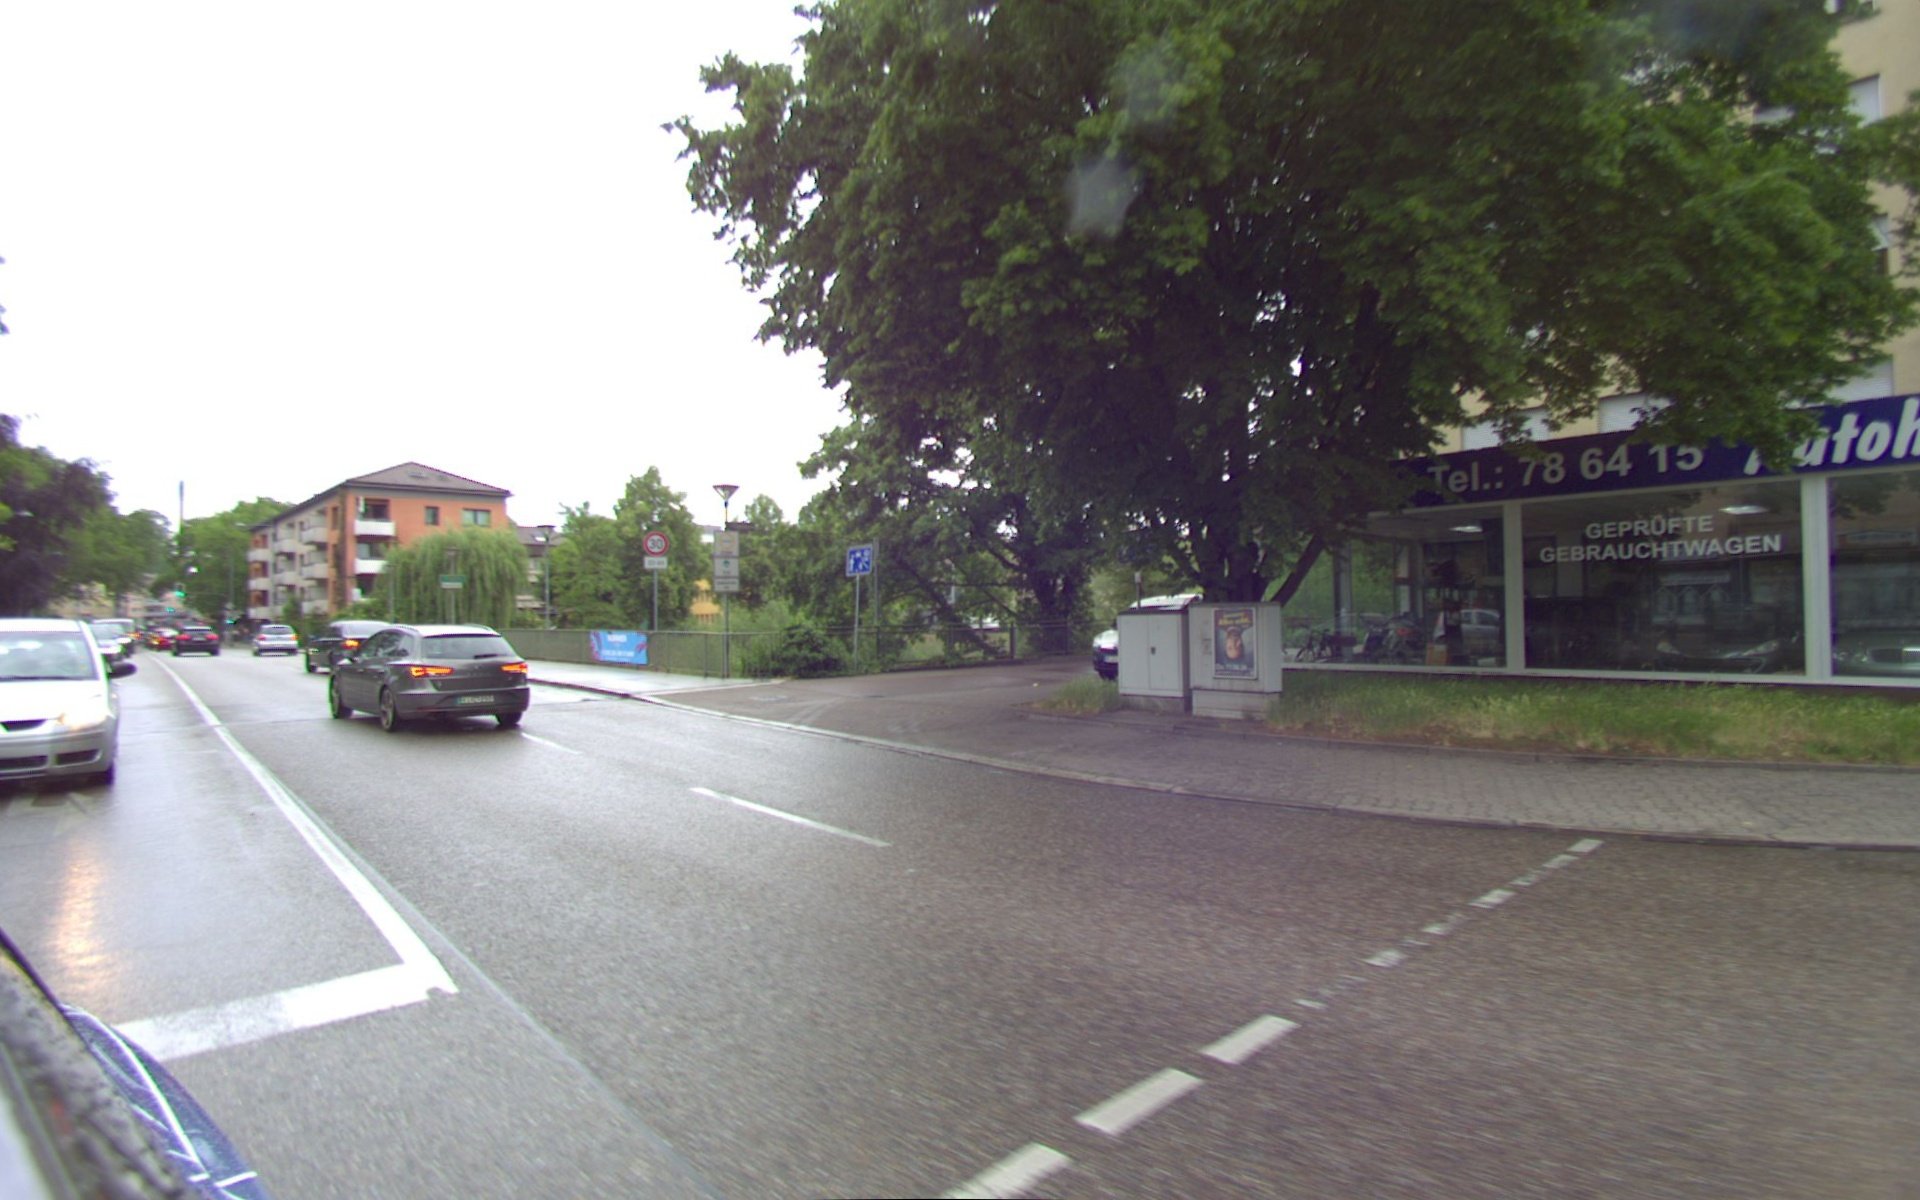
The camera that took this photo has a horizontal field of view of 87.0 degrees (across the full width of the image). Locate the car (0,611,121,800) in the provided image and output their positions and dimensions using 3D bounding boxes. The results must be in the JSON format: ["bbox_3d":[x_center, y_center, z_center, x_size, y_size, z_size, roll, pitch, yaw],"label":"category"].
[{"bbox_3d":[-9.485,0.952,10.076,1.692,1.529,4.814,-1,-1,-40],"label":"car"}]

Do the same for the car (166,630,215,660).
[{"bbox_3d":[-38.219,2.228,50.233,1.688,1.427,4.100,2,-3,-40],"label":"car"}]

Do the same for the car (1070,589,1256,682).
[{"bbox_3d":[4.686,0.762,22.870,1.999,1.868,4.692,-5,-3,41],"label":"car"}]

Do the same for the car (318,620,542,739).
[{"bbox_3d":[-7.755,1.039,14.617,1.789,1.461,4.210,1,-2,-43],"label":"car"}]

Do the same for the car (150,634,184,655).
[{"bbox_3d":[-55.159,3.074,70.363,1.759,1.413,4.225,1,-3,-40],"label":"car"}]

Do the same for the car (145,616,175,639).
[{"bbox_3d":[-84.785,2.926,107.248,2.261,2.326,6.519,2,-3,-40],"label":"car"}]

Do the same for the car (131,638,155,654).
[{"bbox_3d":[-75.415,4.258,93.404,1.723,1.450,4.007,1,-2,-40],"label":"car"}]

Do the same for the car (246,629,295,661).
[{"bbox_3d":[-33.216,2.140,48.728,1.605,1.430,3.692,1,-1,-39],"label":"car"}]

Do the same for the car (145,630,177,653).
[{"bbox_3d":[-62.292,3.250,78.867,1.865,1.748,4.378,1,-3,-40],"label":"car"}]

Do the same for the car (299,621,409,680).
[{"bbox_3d":[-16.597,1.313,27.618,1.708,1.470,4.433,1,-2,-43],"label":"car"}]

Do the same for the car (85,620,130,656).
[{"bbox_3d":[-52.483,2.325,62.344,2.006,2.147,4.007,0,-1,-39],"label":"car"}]

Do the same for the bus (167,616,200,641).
[{"bbox_3d":[-95.212,3.541,124.052,2.659,2.962,12.104,1,-2,-40],"label":"bus"}]

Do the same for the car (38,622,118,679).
[{"bbox_3d":[-26.216,1.482,30.141,1.692,1.529,4.094,-1,-1,-40],"label":"car"}]

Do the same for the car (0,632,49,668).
[{"bbox_3d":[-44.092,2.308,47.414,1.877,1.558,4.007,0,-1,-39],"label":"car"}]
